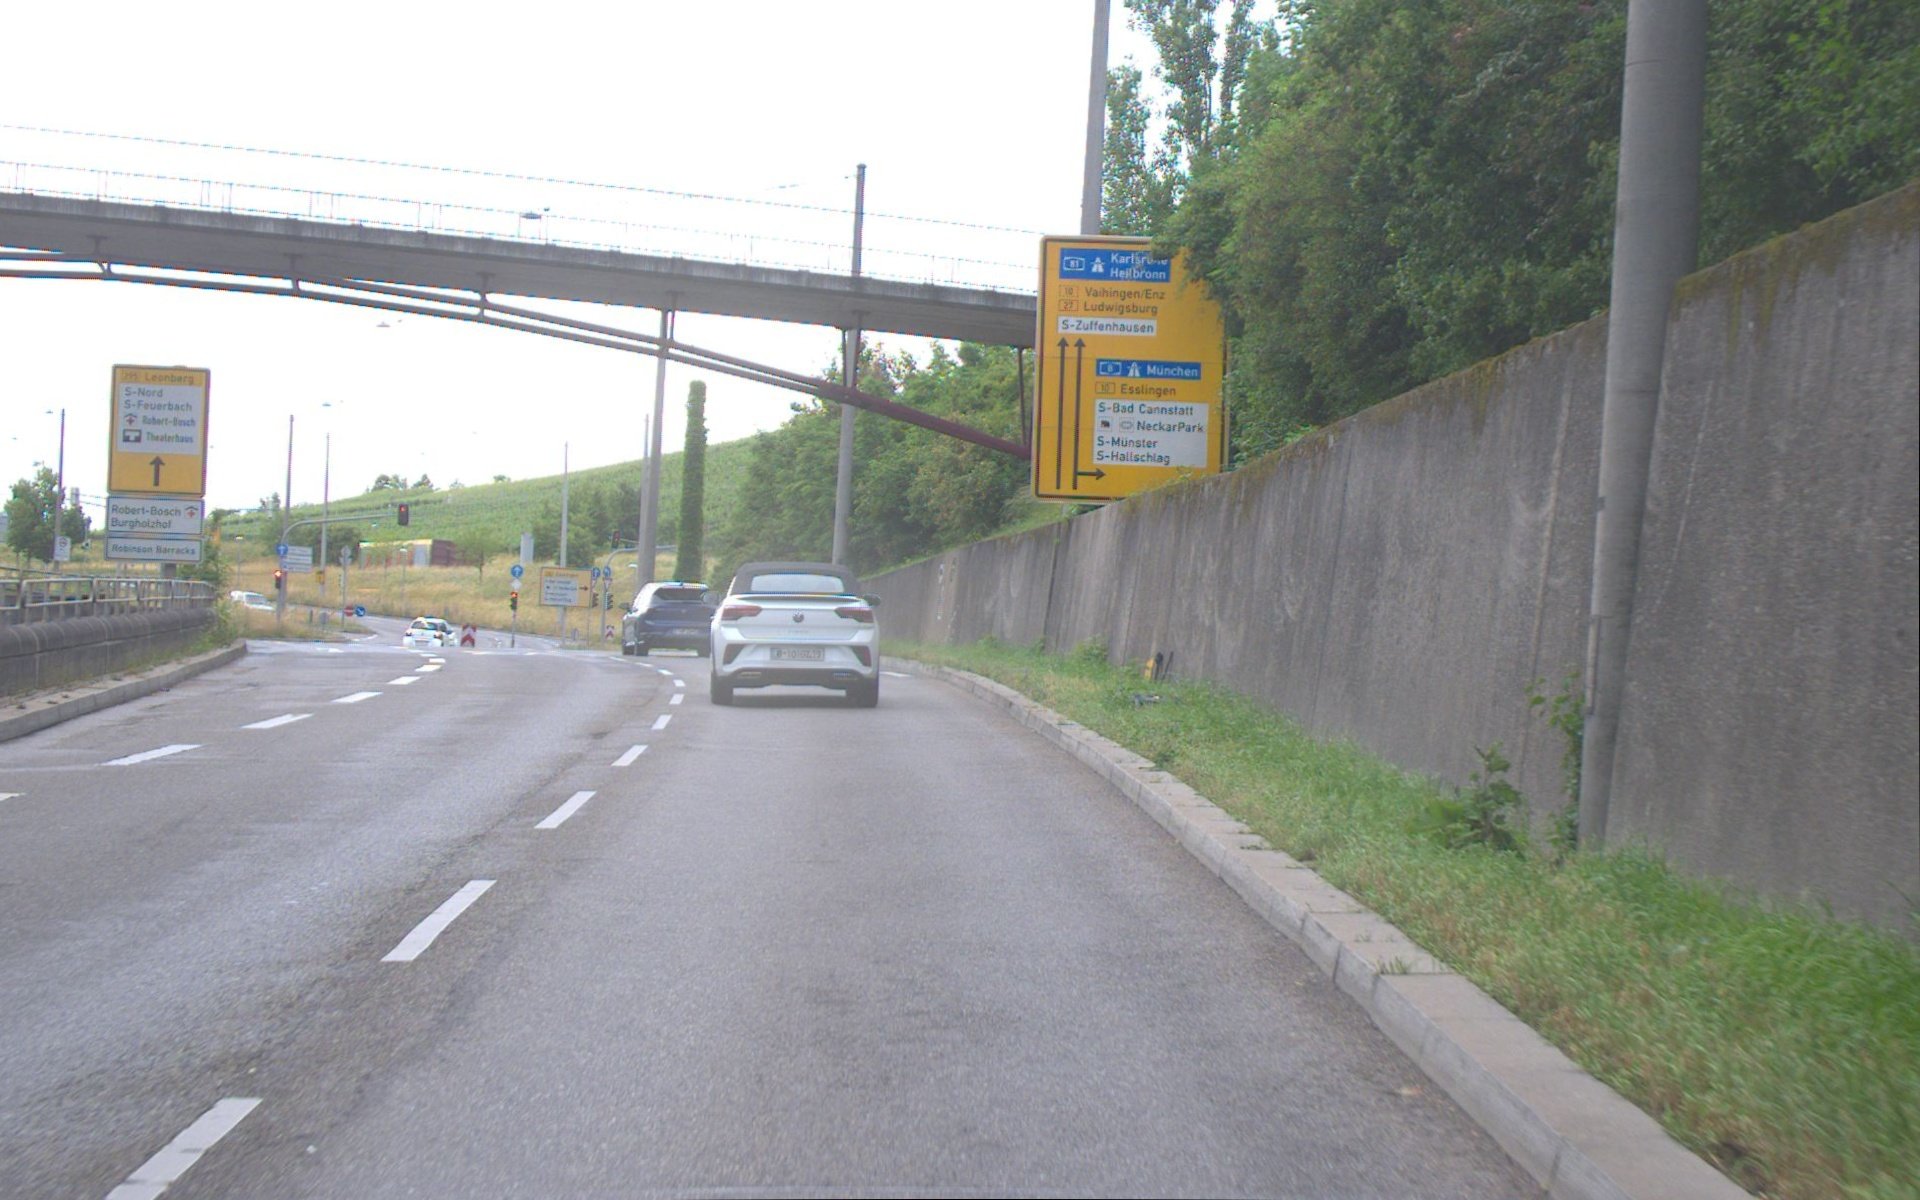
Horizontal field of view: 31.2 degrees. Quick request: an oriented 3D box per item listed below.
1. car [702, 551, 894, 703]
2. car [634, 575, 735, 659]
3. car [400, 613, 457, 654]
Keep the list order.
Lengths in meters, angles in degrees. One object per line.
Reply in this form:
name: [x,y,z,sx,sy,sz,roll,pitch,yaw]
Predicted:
car: [-1.827,0.253,37.753,1.995,1.573,4.126,0,1,-4]
car: [-5.448,0.316,68.414,1.926,1.594,4.062,0,1,-4]
car: [-22.844,1.454,147.851,1.774,1.514,3.724,5,-2,0]
